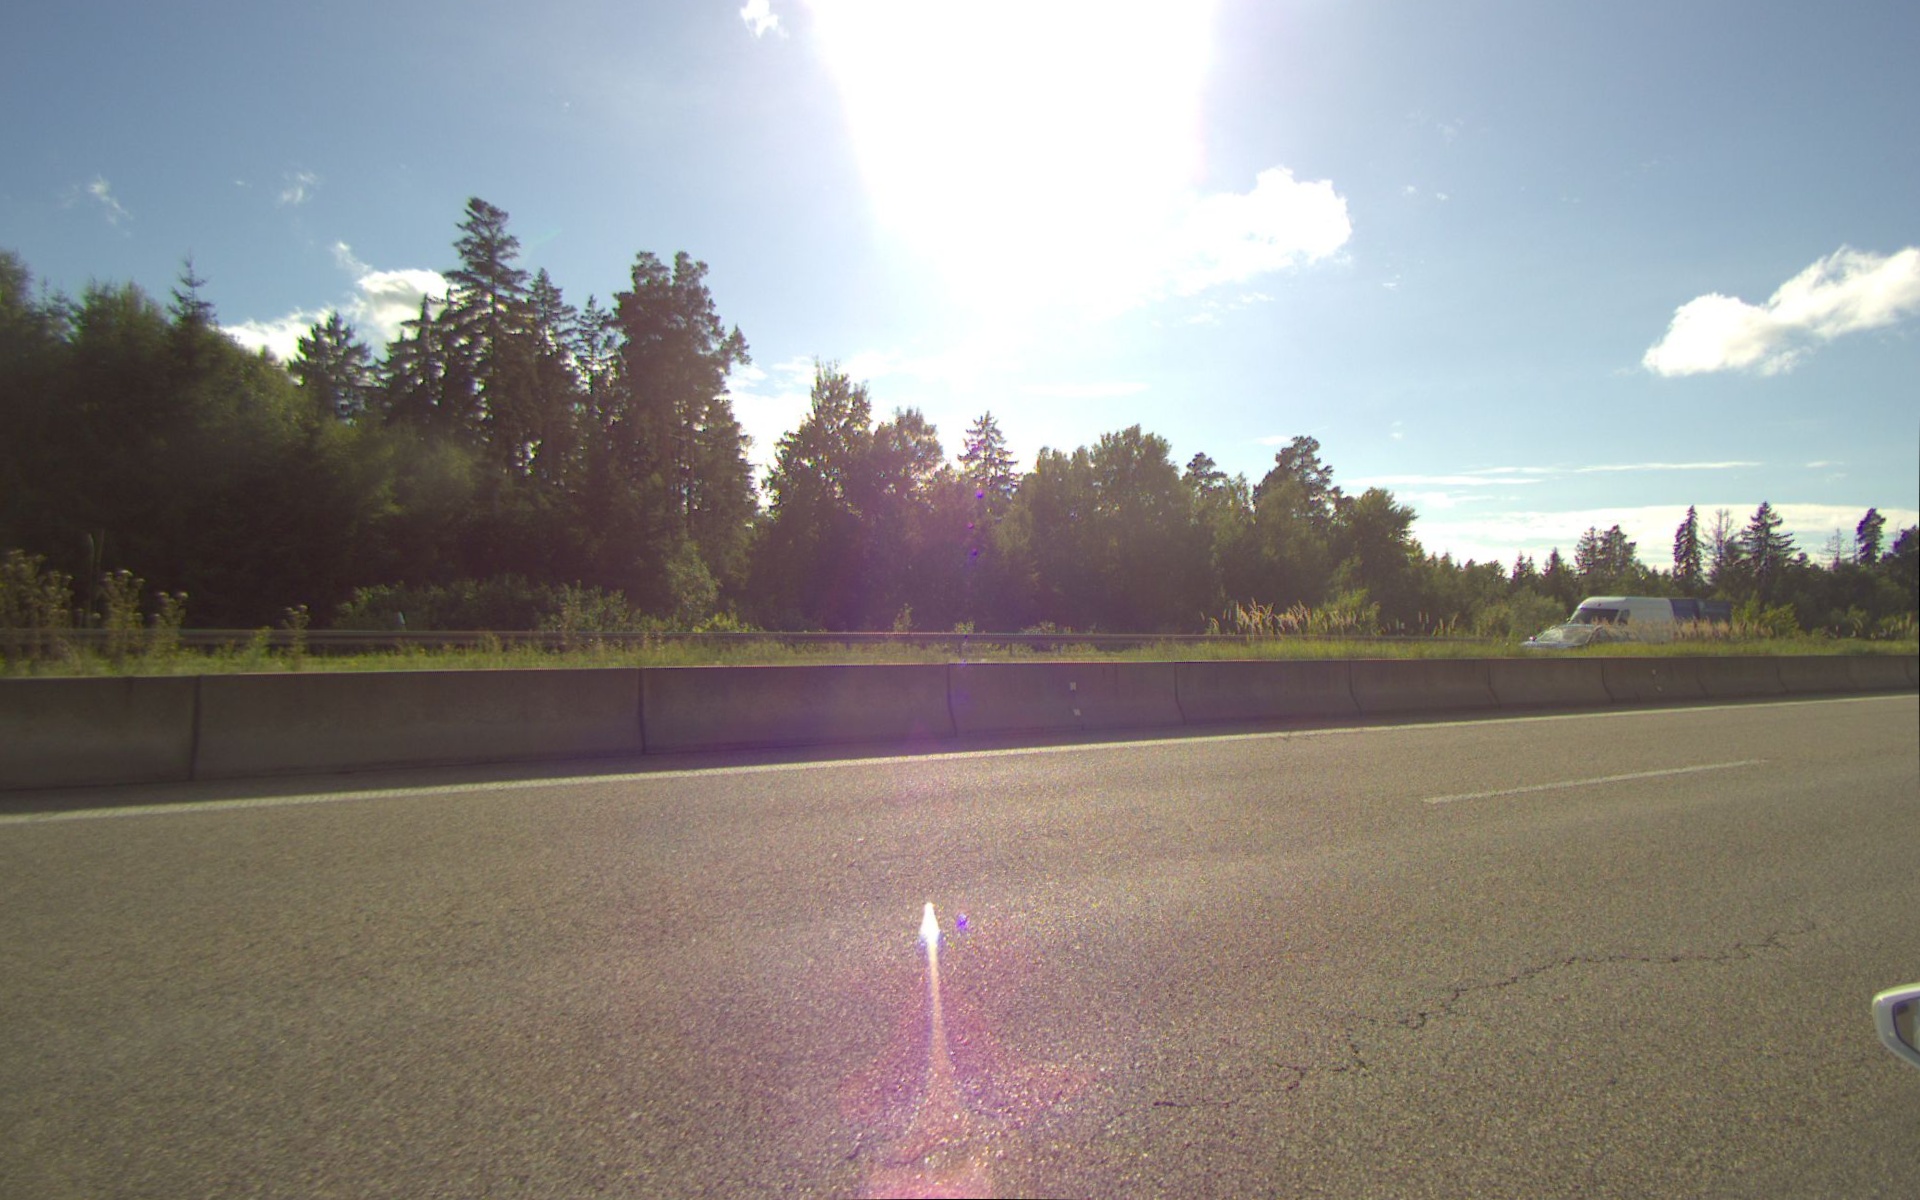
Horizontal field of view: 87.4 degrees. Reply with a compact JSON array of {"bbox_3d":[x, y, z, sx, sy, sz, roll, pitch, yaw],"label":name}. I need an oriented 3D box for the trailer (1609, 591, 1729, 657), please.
[{"bbox_3d":[30.968,1.059,43.828,5.498,2.719,2.258,1,0,-31],"label":"trailer"}]

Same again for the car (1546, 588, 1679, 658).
[{"bbox_3d":[26.894,0.949,41.359,5.821,2.719,2.258,1,0,-31],"label":"car"}]

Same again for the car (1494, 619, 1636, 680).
[{"bbox_3d":[16.696,1.337,27.698,3.532,1.527,1.880,1,0,-30],"label":"car"}]
